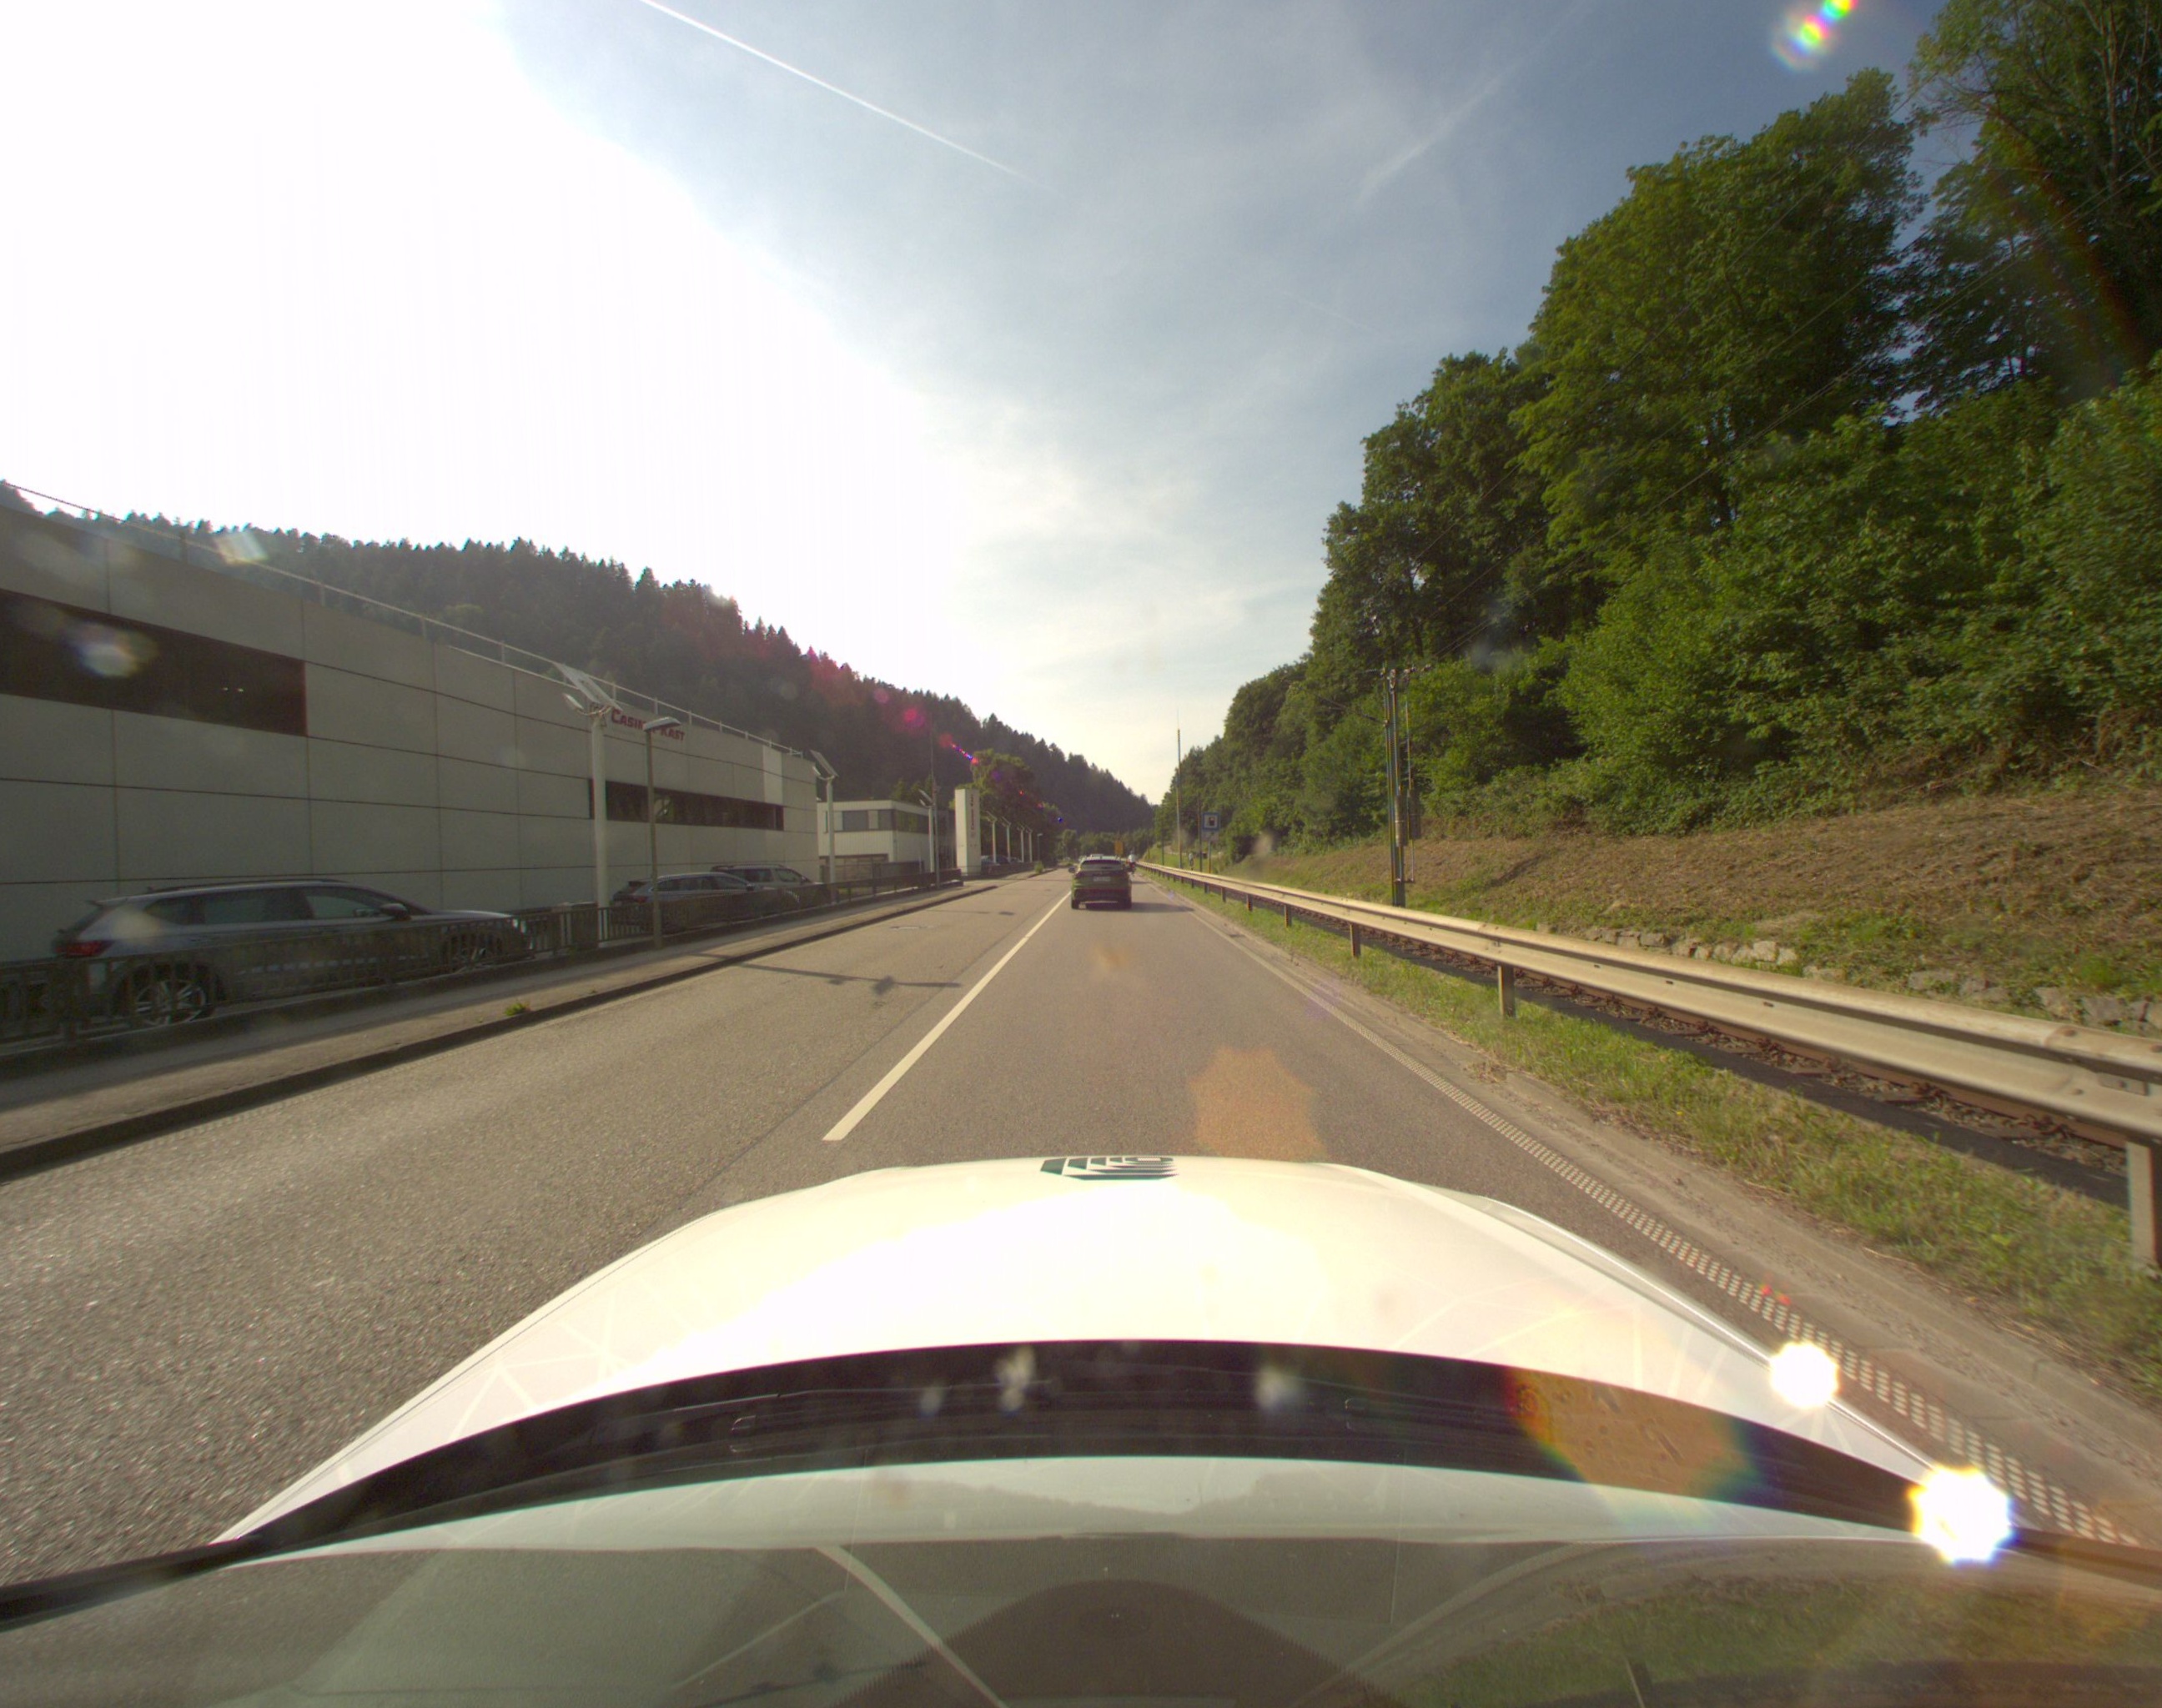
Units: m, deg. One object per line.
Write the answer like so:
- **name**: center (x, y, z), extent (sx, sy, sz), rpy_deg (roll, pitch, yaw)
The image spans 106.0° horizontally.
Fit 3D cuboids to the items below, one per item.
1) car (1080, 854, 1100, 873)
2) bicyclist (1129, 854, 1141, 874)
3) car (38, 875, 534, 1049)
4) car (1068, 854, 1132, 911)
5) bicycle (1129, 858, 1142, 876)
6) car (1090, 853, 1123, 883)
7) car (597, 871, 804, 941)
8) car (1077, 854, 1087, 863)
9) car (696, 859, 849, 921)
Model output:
- **car**: center (0.817, 0.854, 74.445), extent (1.733, 1.602, 4.000), rpy_deg (-1, 0, 1)
- **bicyclist**: center (3.850, 0.729, 58.061), extent (0.779, 1.412, 0.675), rpy_deg (-1, 0, -1)
- **car**: center (-9.643, 1.134, 10.305), extent (1.865, 1.592, 4.200), rpy_deg (-2, 0, 43)
- **car**: center (0.547, 0.781, 24.274), extent (1.733, 1.508, 4.000), rpy_deg (-1, 0, 1)
- **bicycle**: center (3.869, 0.914, 57.963), extent (0.809, 1.250, 2.122), rpy_deg (-1, 0, 0)
- **car**: center (1.403, 0.754, 45.496), extent (1.733, 1.602, 4.000), rpy_deg (-1, 0, 1)
- **car**: center (-9.808, 1.255, 21.278), extent (1.865, 1.495, 4.516), rpy_deg (-2, 0, 43)
- **car**: center (0.255, 0.797, 142.776), extent (1.671, 1.485, 4.247), rpy_deg (0, 0, 1)
- **car**: center (-9.626, 1.052, 25.624), extent (1.759, 1.708, 4.135), rpy_deg (-2, 0, 43)
